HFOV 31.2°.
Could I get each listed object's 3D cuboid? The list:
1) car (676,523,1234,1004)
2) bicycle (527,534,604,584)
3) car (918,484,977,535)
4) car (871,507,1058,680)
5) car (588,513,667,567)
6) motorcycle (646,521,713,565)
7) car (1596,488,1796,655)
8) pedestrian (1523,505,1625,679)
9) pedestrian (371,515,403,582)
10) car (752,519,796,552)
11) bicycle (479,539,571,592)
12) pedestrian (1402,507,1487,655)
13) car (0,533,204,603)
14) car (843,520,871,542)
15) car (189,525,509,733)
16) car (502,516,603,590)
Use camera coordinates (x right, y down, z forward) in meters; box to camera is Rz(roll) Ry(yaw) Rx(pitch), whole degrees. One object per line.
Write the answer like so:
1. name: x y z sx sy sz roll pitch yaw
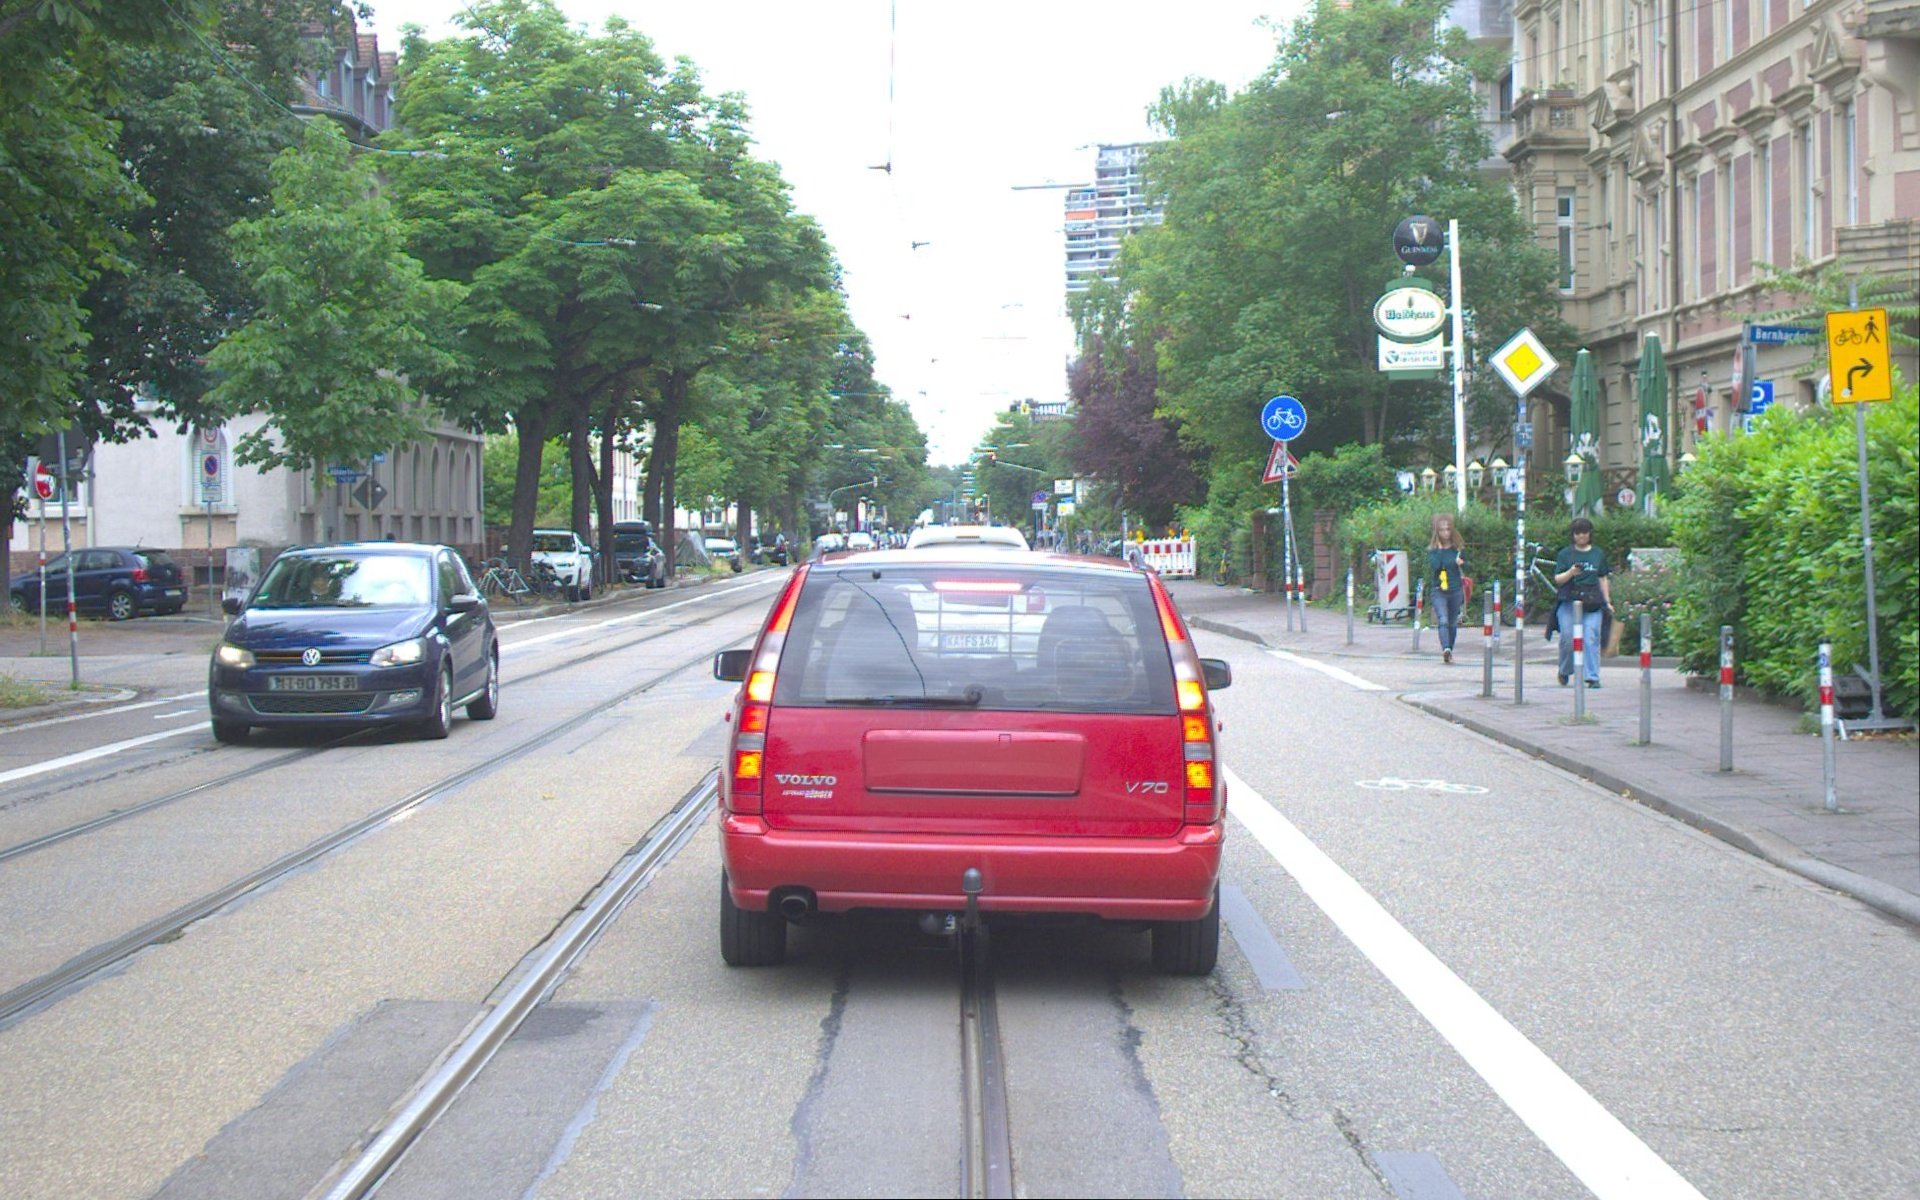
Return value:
1. car: 0.066 0.454 12.333 1.689 1.436 3.743 1 1 3
2. bicycle: -9.690 -1.015 84.515 1.744 1.188 0.652 2 1 15
3. car: -0.412 -2.884 109.969 1.741 1.600 4.001 0 1 -2
4. car: 0.100 -0.101 34.214 1.719 1.619 3.941 0 1 2
5. car: -9.469 -1.733 98.102 1.777 1.505 4.238 0 1 1
6. motorcycle: -9.793 -1.975 120.106 2.269 1.506 0.925 0 0 35
7. car: 8.870 -0.382 41.135 2.053 1.871 5.026 0 1 15
8. pedestrian: 5.901 -0.082 33.068 0.793 1.630 0.836 -2 1 0
9. pedestrian: -12.684 -1.145 76.133 0.564 1.462 0.723 -1 1 0
10. car: -8.930 -3.092 165.246 1.851 1.557 3.943 0 1 0
11. bicycle: -9.506 -0.748 75.136 1.922 1.117 0.624 1 1 0
12. pedestrian: 5.513 -0.225 39.057 0.873 1.650 0.908 0 1 13
13. car: -16.885 -0.627 67.267 3.753 1.302 1.739 0 1 23
14. car: -6.591 -4.419 220.615 1.755 1.375 4.027 -1 1 -1
15. car: -4.465 0.162 25.617 1.729 1.404 3.656 -1 1 0
16. car: -9.351 -1.106 79.200 1.897 1.650 4.226 0 1 -1
